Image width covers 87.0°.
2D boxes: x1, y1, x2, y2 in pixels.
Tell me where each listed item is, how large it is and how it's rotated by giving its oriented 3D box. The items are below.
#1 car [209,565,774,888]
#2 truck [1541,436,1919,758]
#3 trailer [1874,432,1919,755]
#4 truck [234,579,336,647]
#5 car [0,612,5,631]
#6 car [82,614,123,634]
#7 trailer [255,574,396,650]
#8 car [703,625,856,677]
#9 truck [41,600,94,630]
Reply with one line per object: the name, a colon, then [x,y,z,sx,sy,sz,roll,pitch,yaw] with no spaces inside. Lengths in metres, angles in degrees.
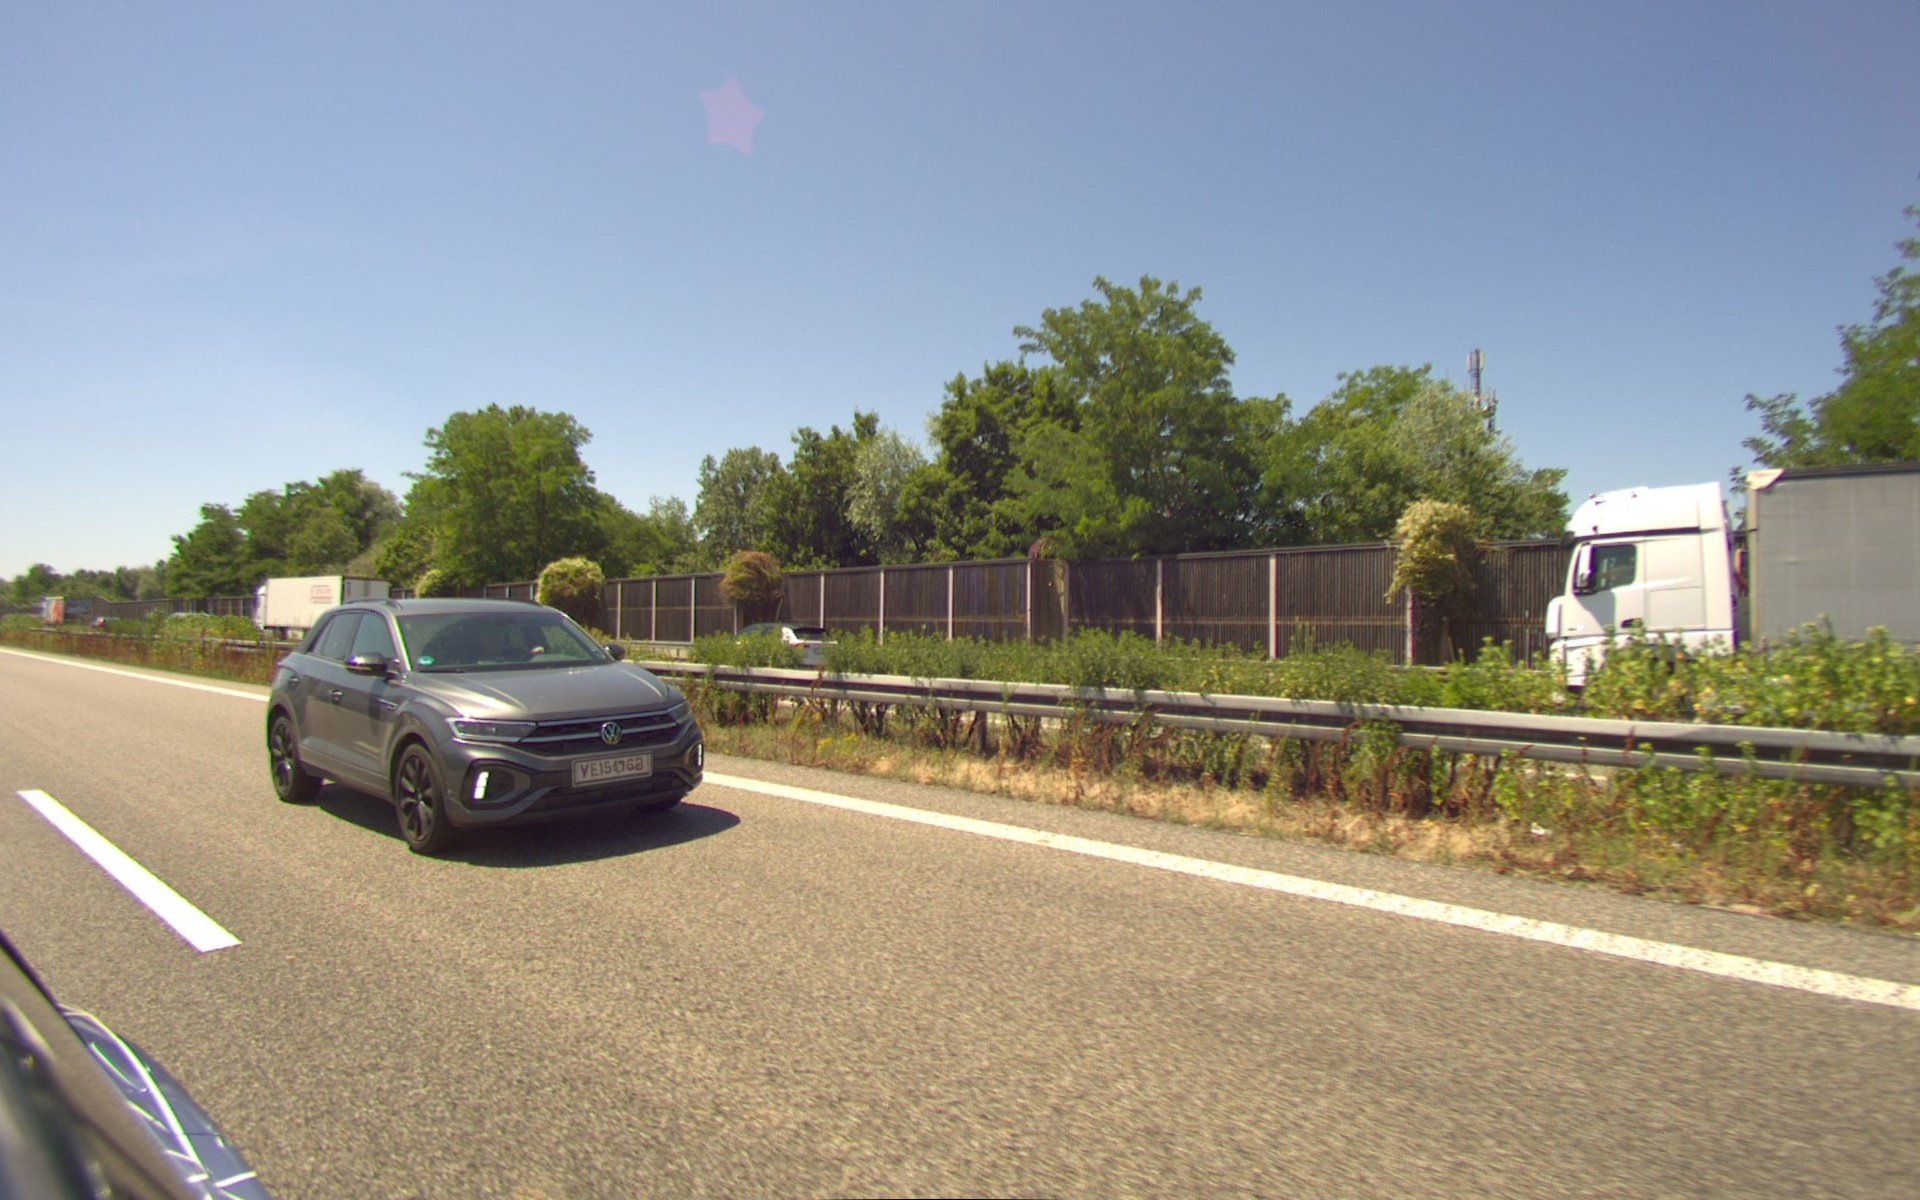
car: [-3.732,0.728,7.523,5.004,1.652,1.861,-2,-2,40]
truck: [13.868,-0.027,15.760,7.867,4.473,3.183,-1,-1,41]
trailer: [18.985,-0.156,11.259,12.947,4.511,3.133,-1,-1,42]
truck: [-43.675,0.888,65.398,7.835,4.135,3.544,-1,-2,41]
car: [-134.128,3.023,139.892,7.581,2.582,2.292,-1,3,42]
car: [-71.547,1.997,84.446,4.504,1.608,1.972,-1,-2,41]
trailer: [-38.143,0.785,60.512,12.790,4.135,3.573,-1,-2,41]
car: [-4.592,1.229,25.442,4.077,1.164,1.609,-1,-1,41]
truck: [-108.925,1.876,123.379,16.997,3.367,2.808,-2,-1,42]
